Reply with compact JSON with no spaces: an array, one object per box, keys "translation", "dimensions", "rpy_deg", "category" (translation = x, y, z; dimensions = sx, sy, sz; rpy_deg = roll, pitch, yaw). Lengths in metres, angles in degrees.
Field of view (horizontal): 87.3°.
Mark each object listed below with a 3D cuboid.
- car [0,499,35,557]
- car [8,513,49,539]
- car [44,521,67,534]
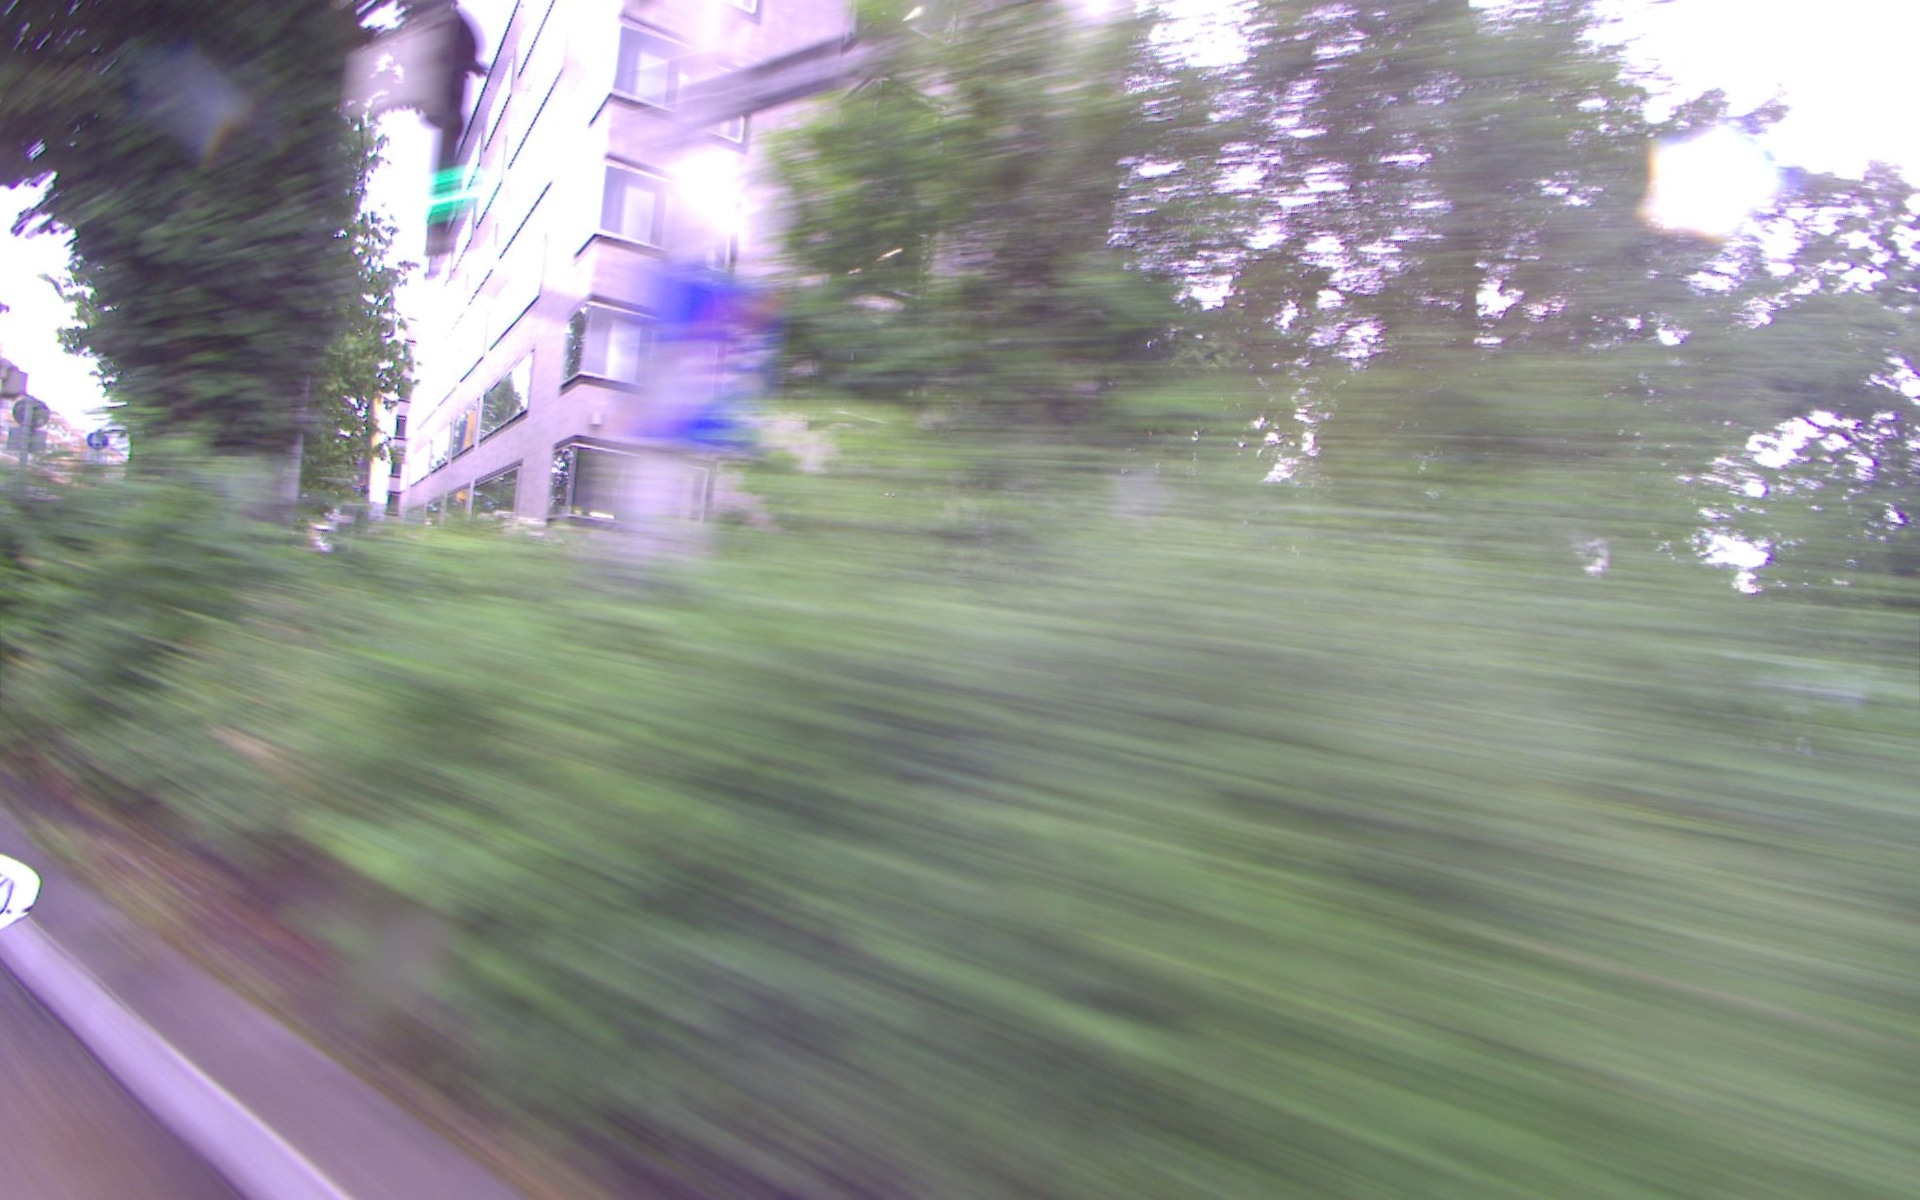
[{"translation":[-30.300,-2.303,30.954],"dimensions":[1.886,1.714,3.968],"rpy_deg":[6,-1,-32],"category":"car"},{"translation":[-86.718,-6.854,93.697],"dimensions":[1.981,2.014,5.241],"rpy_deg":[6,-1,-35],"category":"car"},{"translation":[-138.780,-11.171,154.381],"dimensions":[1.980,1.639,4.281],"rpy_deg":[6,-1,-33],"category":"car"}]
